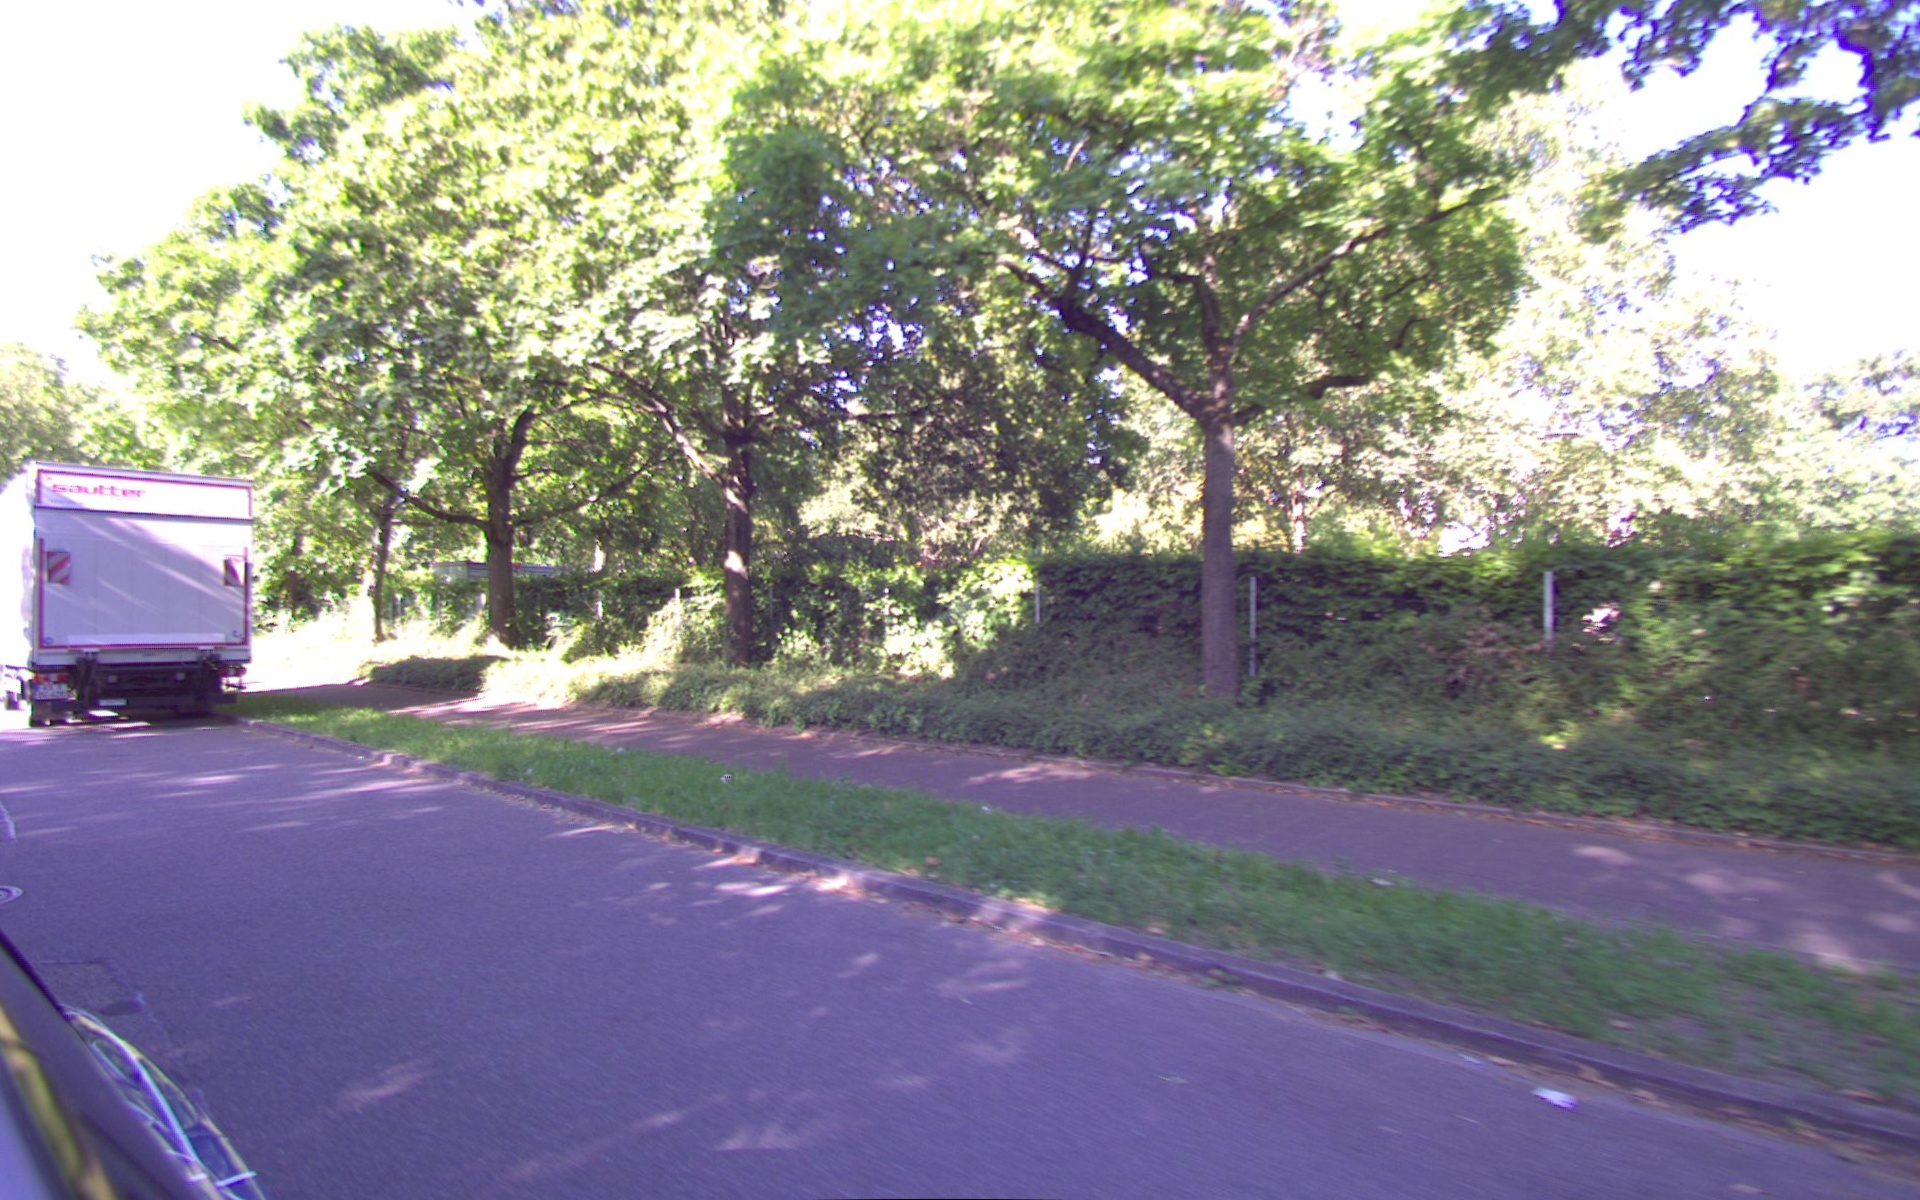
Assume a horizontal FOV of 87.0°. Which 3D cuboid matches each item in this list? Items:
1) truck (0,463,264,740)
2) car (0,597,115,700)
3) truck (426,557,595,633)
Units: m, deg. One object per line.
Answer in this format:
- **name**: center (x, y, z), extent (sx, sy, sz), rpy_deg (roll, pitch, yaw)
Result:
- **truck**: center (-14.504, 0.097, 17.112), extent (8.098, 3.669, 2.705), rpy_deg (-1, -1, 42)
- **car**: center (-21.773, 1.066, 23.668), extent (6.581, 2.112, 2.097), rpy_deg (-1, -1, 41)
- **truck**: center (-13.110, -0.064, 29.690), extent (2.202, 2.029, 3.946), rpy_deg (-2, -3, 40)
